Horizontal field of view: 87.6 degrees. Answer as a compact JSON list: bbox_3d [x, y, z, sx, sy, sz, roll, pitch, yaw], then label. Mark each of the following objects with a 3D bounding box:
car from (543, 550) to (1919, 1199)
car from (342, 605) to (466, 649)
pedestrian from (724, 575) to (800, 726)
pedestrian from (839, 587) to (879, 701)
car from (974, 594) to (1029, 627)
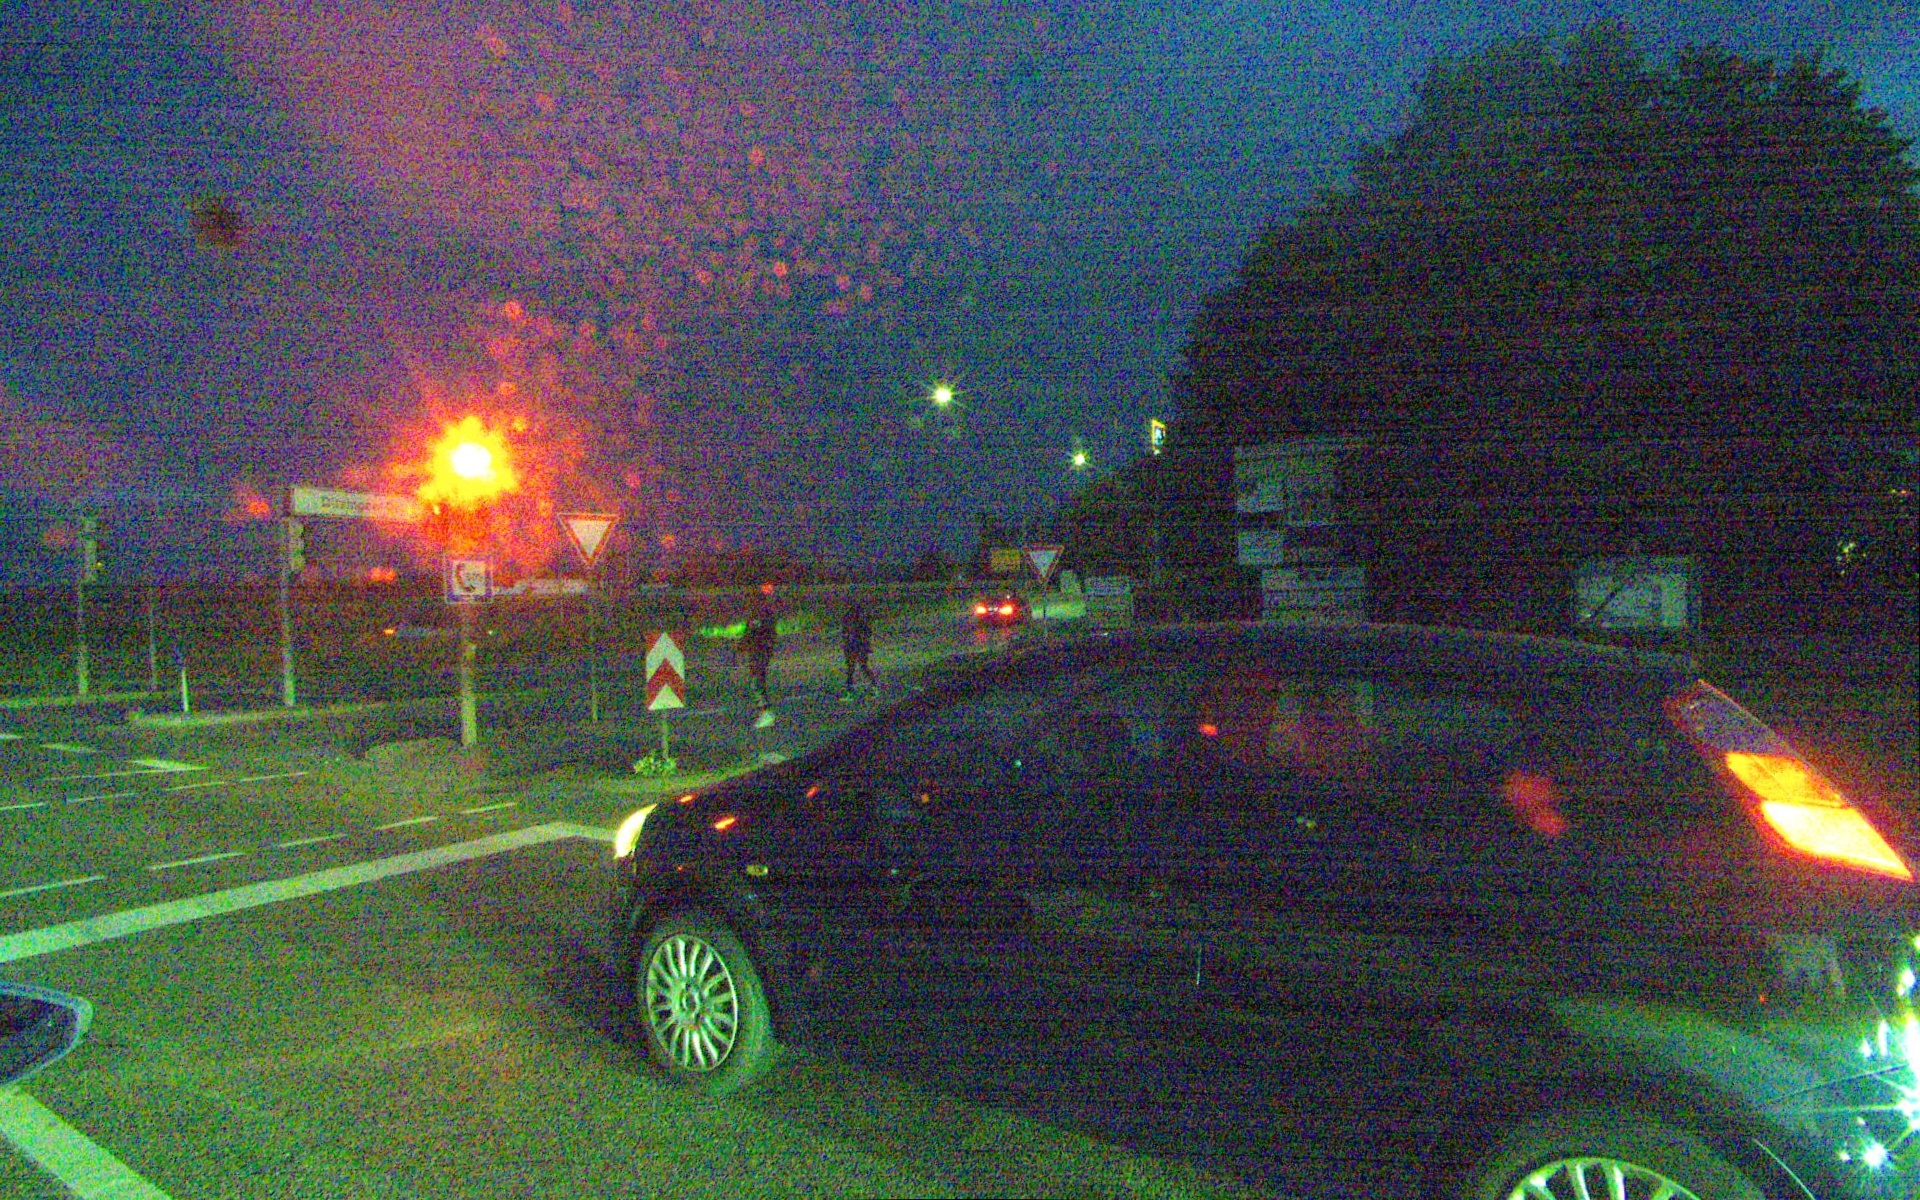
[{"bbox_3d":[0.487,0.746,3.247,3.663,1.557,1.655,-1,-1,33],"label":"car"},{"bbox_3d":[-23.723,1.119,42.947,4.404,1.686,1.993,-1,1,-23],"label":"car"},{"bbox_3d":[-2.775,0.705,14.063,0.704,2.039,0.776,-1,-1,33],"label":"pedestrian"},{"bbox_3d":[-1.839,0.796,18.262,0.700,2.039,0.781,0,-1,-6],"label":"pedestrian"},{"bbox_3d":[2.020,0.463,47.379,1.776,1.462,3.995,-1,0,14],"label":"car"}]
